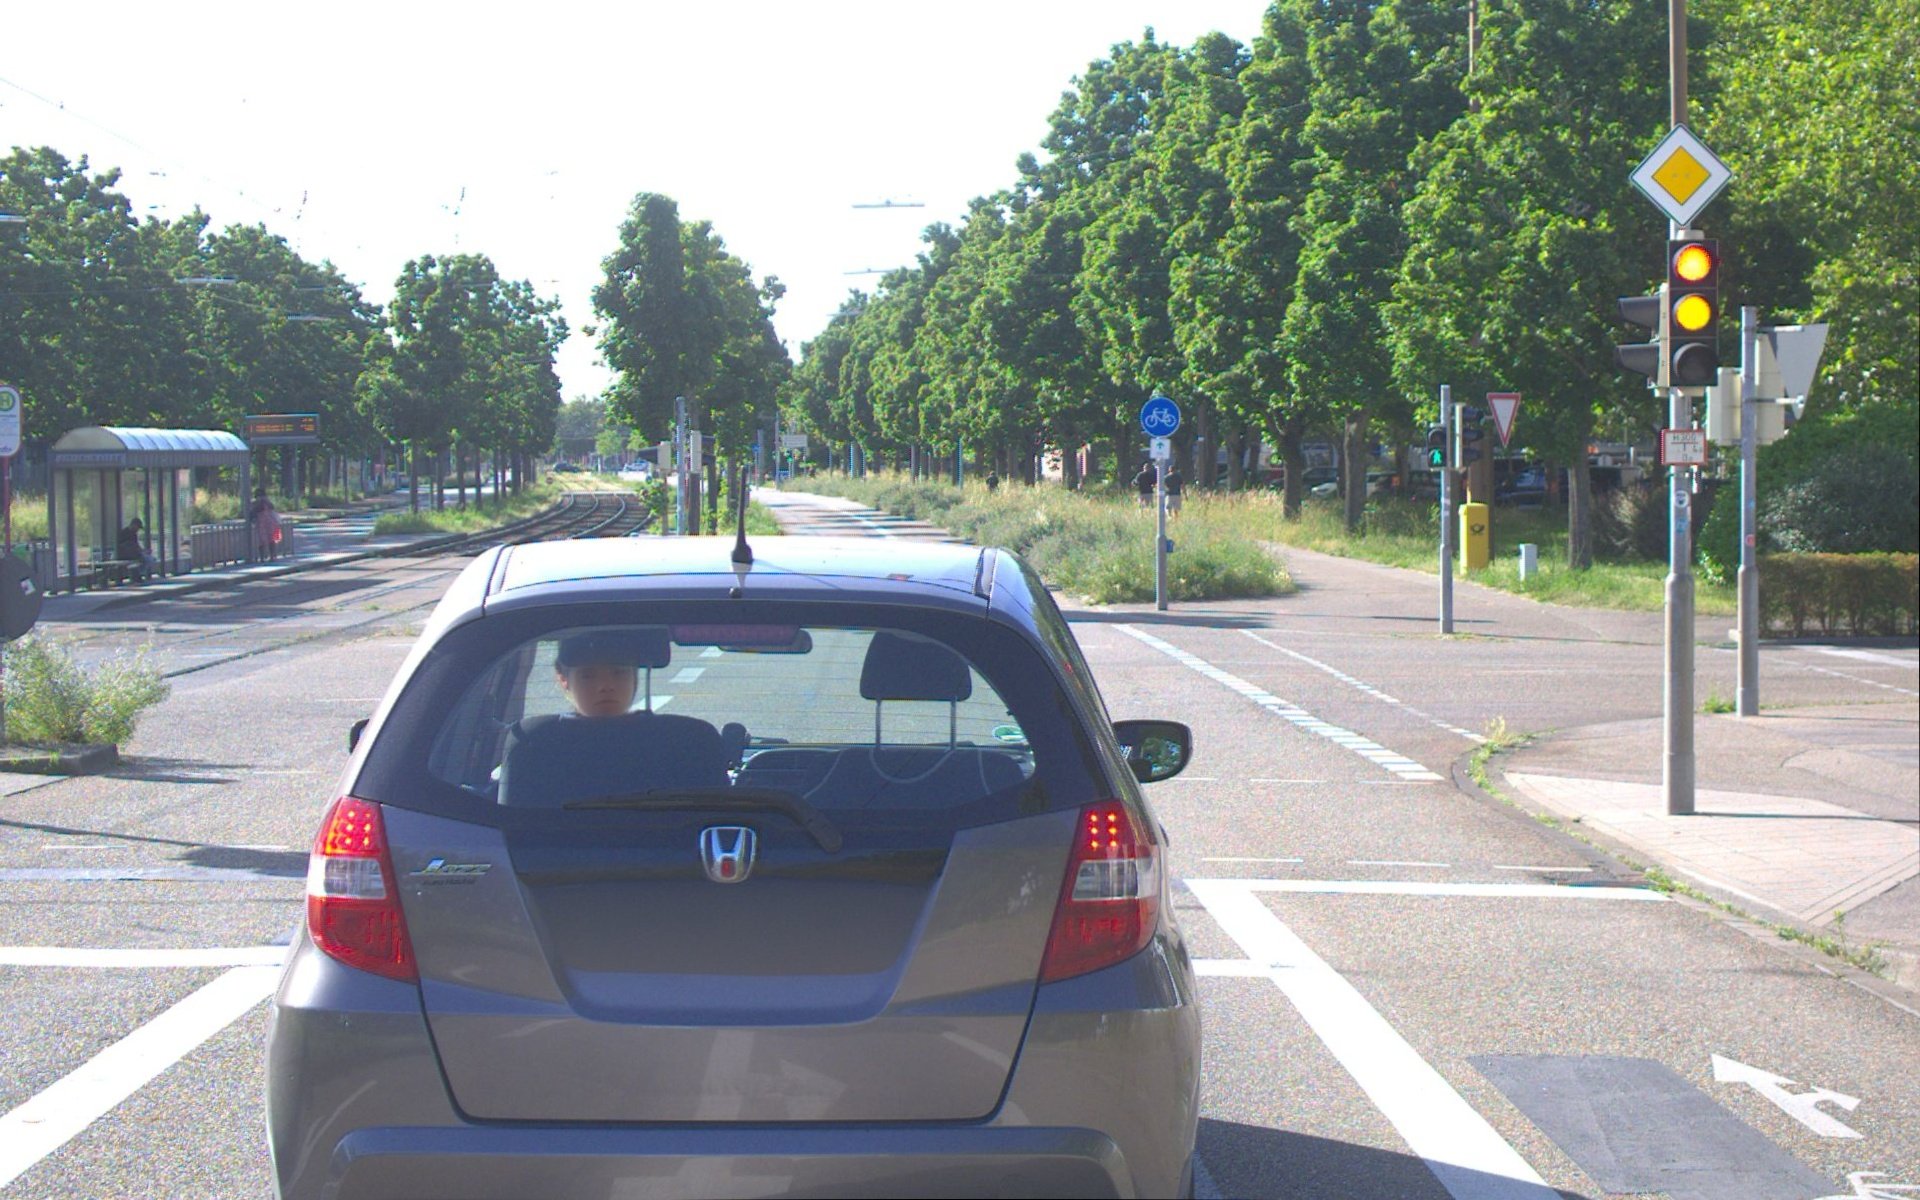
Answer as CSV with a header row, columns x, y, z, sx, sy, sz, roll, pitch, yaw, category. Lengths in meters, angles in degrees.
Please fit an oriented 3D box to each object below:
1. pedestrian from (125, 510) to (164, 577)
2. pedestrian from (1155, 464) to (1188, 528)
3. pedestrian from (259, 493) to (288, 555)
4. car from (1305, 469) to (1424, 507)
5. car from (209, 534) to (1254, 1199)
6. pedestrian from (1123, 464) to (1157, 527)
x,y,z,sx,sy,sz,roll,pitch,yaw,category
-15.544,-1.079,65.533,0.563,1.252,0.581,-3,1,-1,pedestrian
6.295,-3.100,102.335,0.882,1.877,0.875,-1,2,-4,pedestrian
-15.996,-1.773,80.085,0.544,1.442,0.559,-1,1,-1,pedestrian
16.999,-4.708,144.519,4.630,1.550,2.001,-1,2,-6,car
-0.396,0.627,7.475,1.701,1.518,3.710,0,1,-1,car
5.360,-3.111,102.250,0.882,1.877,0.875,-1,2,-4,pedestrian
